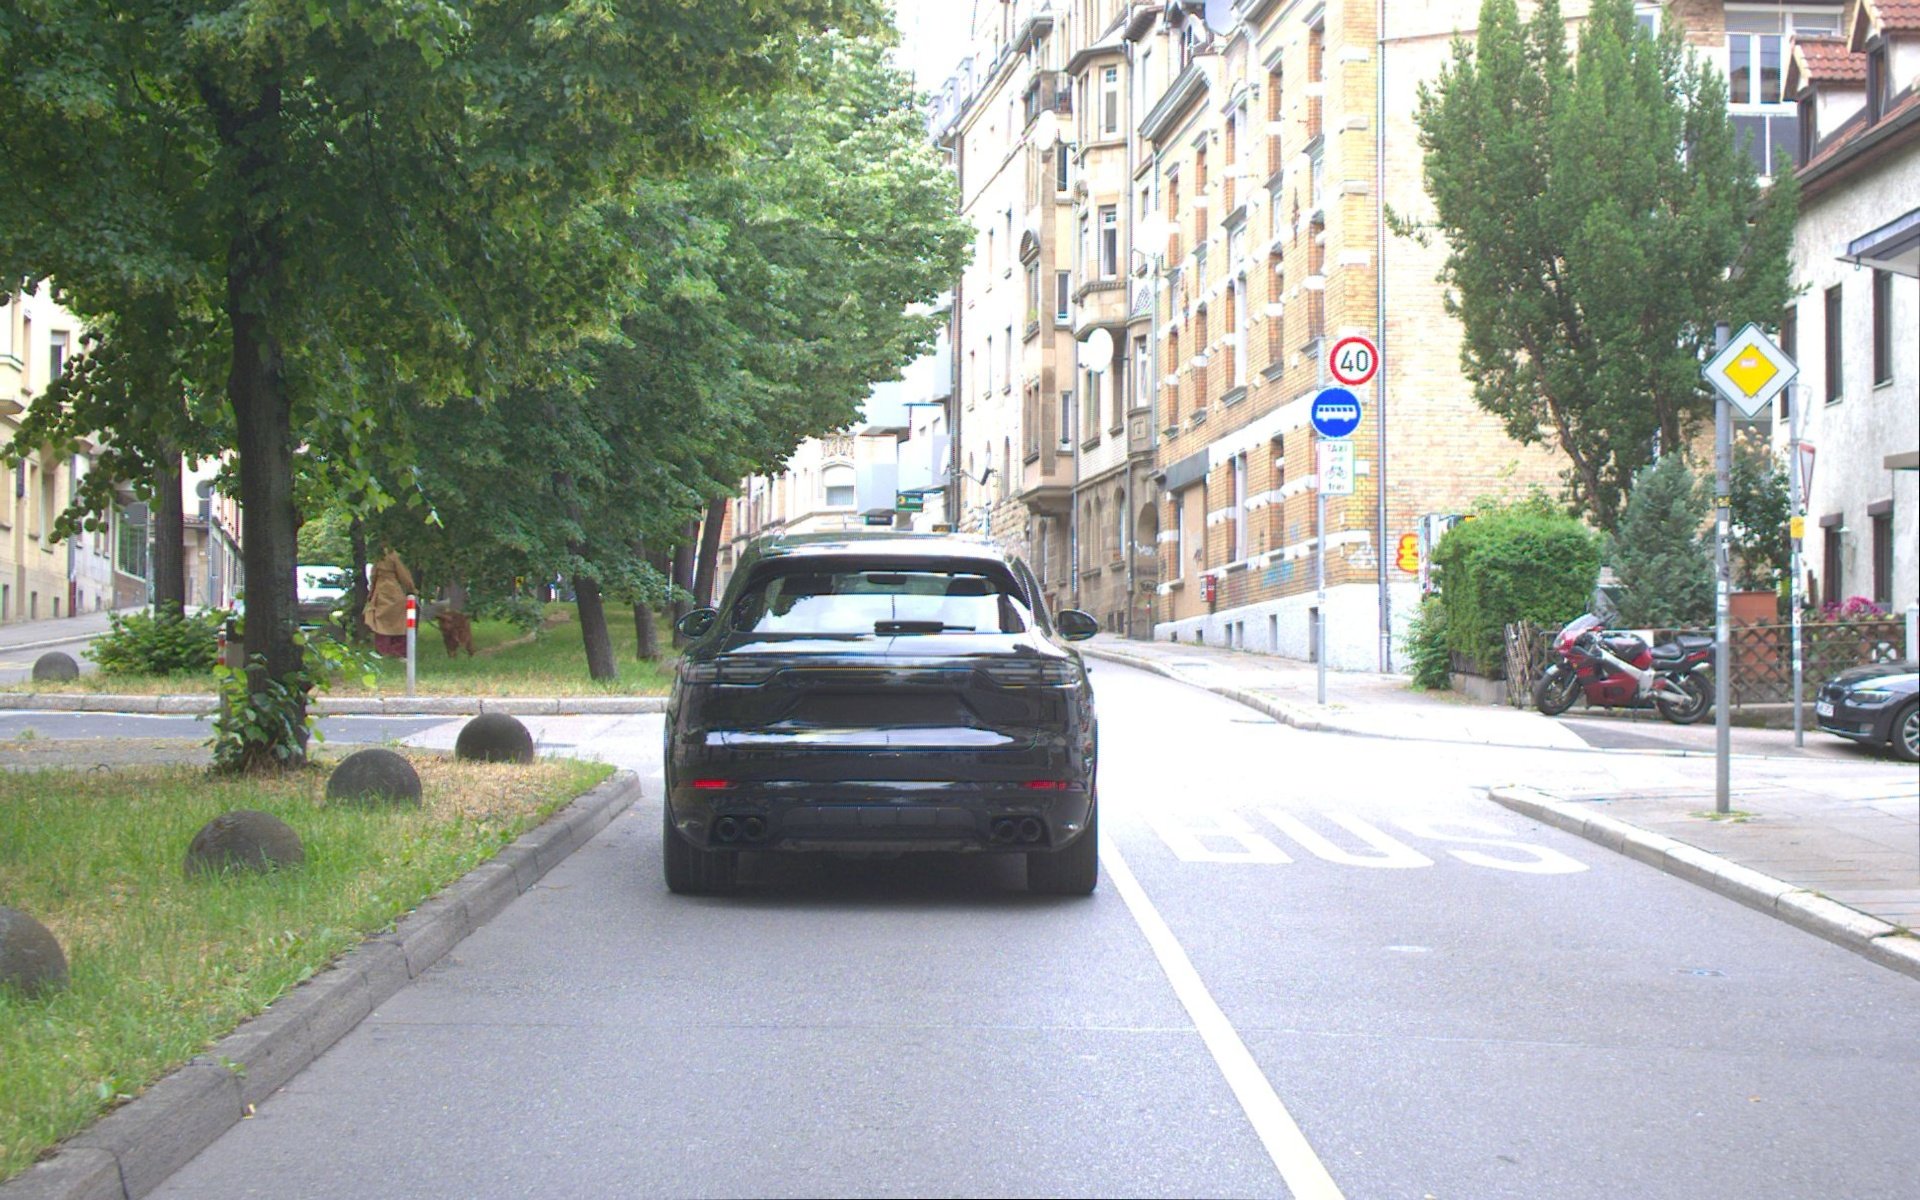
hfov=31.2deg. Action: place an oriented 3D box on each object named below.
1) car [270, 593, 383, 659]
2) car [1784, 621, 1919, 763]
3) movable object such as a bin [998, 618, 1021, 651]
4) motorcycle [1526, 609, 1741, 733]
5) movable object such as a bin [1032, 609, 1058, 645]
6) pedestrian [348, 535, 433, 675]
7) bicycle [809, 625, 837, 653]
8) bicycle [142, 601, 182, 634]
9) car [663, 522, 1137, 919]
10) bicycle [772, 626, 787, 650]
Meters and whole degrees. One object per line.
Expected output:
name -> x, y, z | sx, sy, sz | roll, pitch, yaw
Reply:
car -> -14.486, 0.573, 78.807 | 1.708, 1.377, 4.668 | -1, 1, 0
car -> 10.606, 0.932, 34.589 | 4.124, 1.281, 1.783 | 1, 3, -3
movable object such as a bin -> 1.396, 0.969, 96.667 | 0.594, 0.901, 0.503 | 1, -4, -6
motorcycle -> 7.269, 0.758, 37.171 | 2.055, 1.263, 1.010 | 2, 0, -5
movable object such as a bin -> 2.183, 0.698, 88.232 | 0.594, 0.901, 0.563 | 1, -1, -6
pedestrian -> -7.271, 0.073, 43.964 | 0.833, 1.706, 1.123 | -3, -2, -1
bicycle -> -5.883, 1.695, 147.764 | 0.879, 1.125, 2.979 | 1, -2, -8
bicycle -> -27.550, 0.611, 118.627 | 0.762, 1.081, 2.037 | 3, -3, -29
car -> -0.346, 0.505, 16.730 | 1.993, 1.660, 4.000 | 1, 0, -3
bicycle -> -8.324, 1.759, 158.692 | 0.446, 1.033, 2.249 | 0, -3, -10
